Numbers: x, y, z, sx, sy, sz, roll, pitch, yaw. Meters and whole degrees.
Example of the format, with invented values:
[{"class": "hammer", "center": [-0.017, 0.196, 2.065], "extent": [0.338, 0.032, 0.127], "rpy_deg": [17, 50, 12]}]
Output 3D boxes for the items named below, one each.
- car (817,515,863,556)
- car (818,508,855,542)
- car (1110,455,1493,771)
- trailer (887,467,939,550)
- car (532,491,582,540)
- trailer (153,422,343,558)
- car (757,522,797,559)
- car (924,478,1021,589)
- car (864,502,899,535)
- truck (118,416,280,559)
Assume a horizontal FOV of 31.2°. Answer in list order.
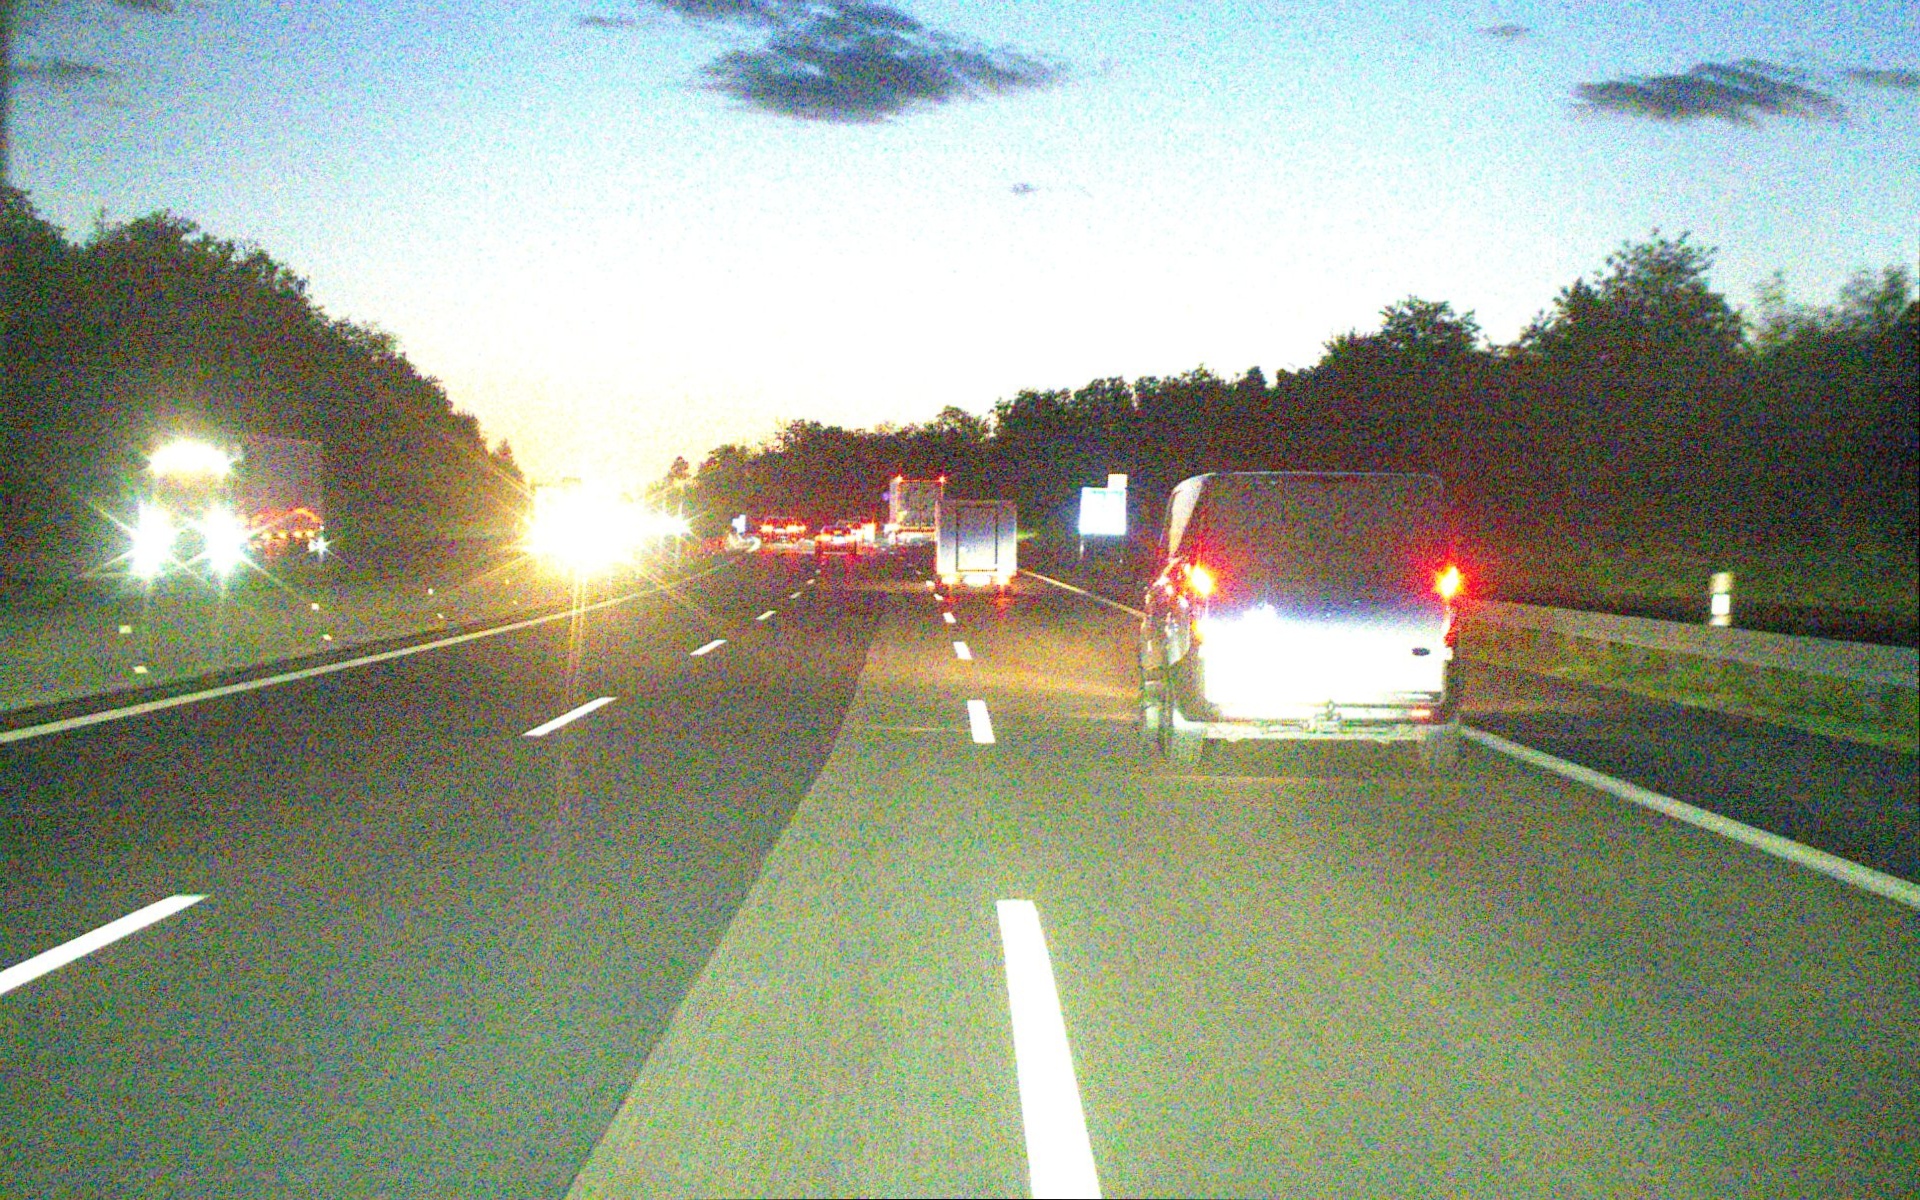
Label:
[{"class": "car", "center": [-5.642, -3.014, 161.812], "extent": [1.993, 1.788, 4.000], "rpy_deg": [1, 0, -4]}, {"class": "car", "center": [-7.017, -4.277, 195.609], "extent": [1.993, 1.788, 4.000], "rpy_deg": [1, 0, 0]}, {"class": "car", "center": [2.314, 0.030, 24.864], "extent": [2.115, 1.994, 5.664], "rpy_deg": [1, 1, -1]}, {"class": "trailer", "center": [-2.752, -5.240, 200.421], "extent": [2.829, 4.242, 17.049], "rpy_deg": [1, 0, -1]}, {"class": "car", "center": [-21.383, -4.484, 182.546], "extent": [2.101, 2.509, 6.216], "rpy_deg": [1, 1, -2]}, {"class": "trailer", "center": [-22.324, -3.396, 108.724], "extent": [3.430, 3.966, 13.813], "rpy_deg": [1, 1, -2]}, {"class": "car", "center": [-9.496, -3.074, 178.757], "extent": [1.993, 1.810, 4.000], "rpy_deg": [1, 0, -2]}, {"class": "car", "center": [0.268, -1.648, 85.186], "extent": [2.032, 2.638, 5.726], "rpy_deg": [1, 1, -3]}, {"class": "car", "center": [-5.356, -5.523, 233.391], "extent": [1.993, 2.110, 4.001], "rpy_deg": [1, 0, -7]}, {"class": "truck", "center": [-22.101, -3.228, 100.164], "extent": [3.430, 3.966, 6.208], "rpy_deg": [1, 1, -1]}]
